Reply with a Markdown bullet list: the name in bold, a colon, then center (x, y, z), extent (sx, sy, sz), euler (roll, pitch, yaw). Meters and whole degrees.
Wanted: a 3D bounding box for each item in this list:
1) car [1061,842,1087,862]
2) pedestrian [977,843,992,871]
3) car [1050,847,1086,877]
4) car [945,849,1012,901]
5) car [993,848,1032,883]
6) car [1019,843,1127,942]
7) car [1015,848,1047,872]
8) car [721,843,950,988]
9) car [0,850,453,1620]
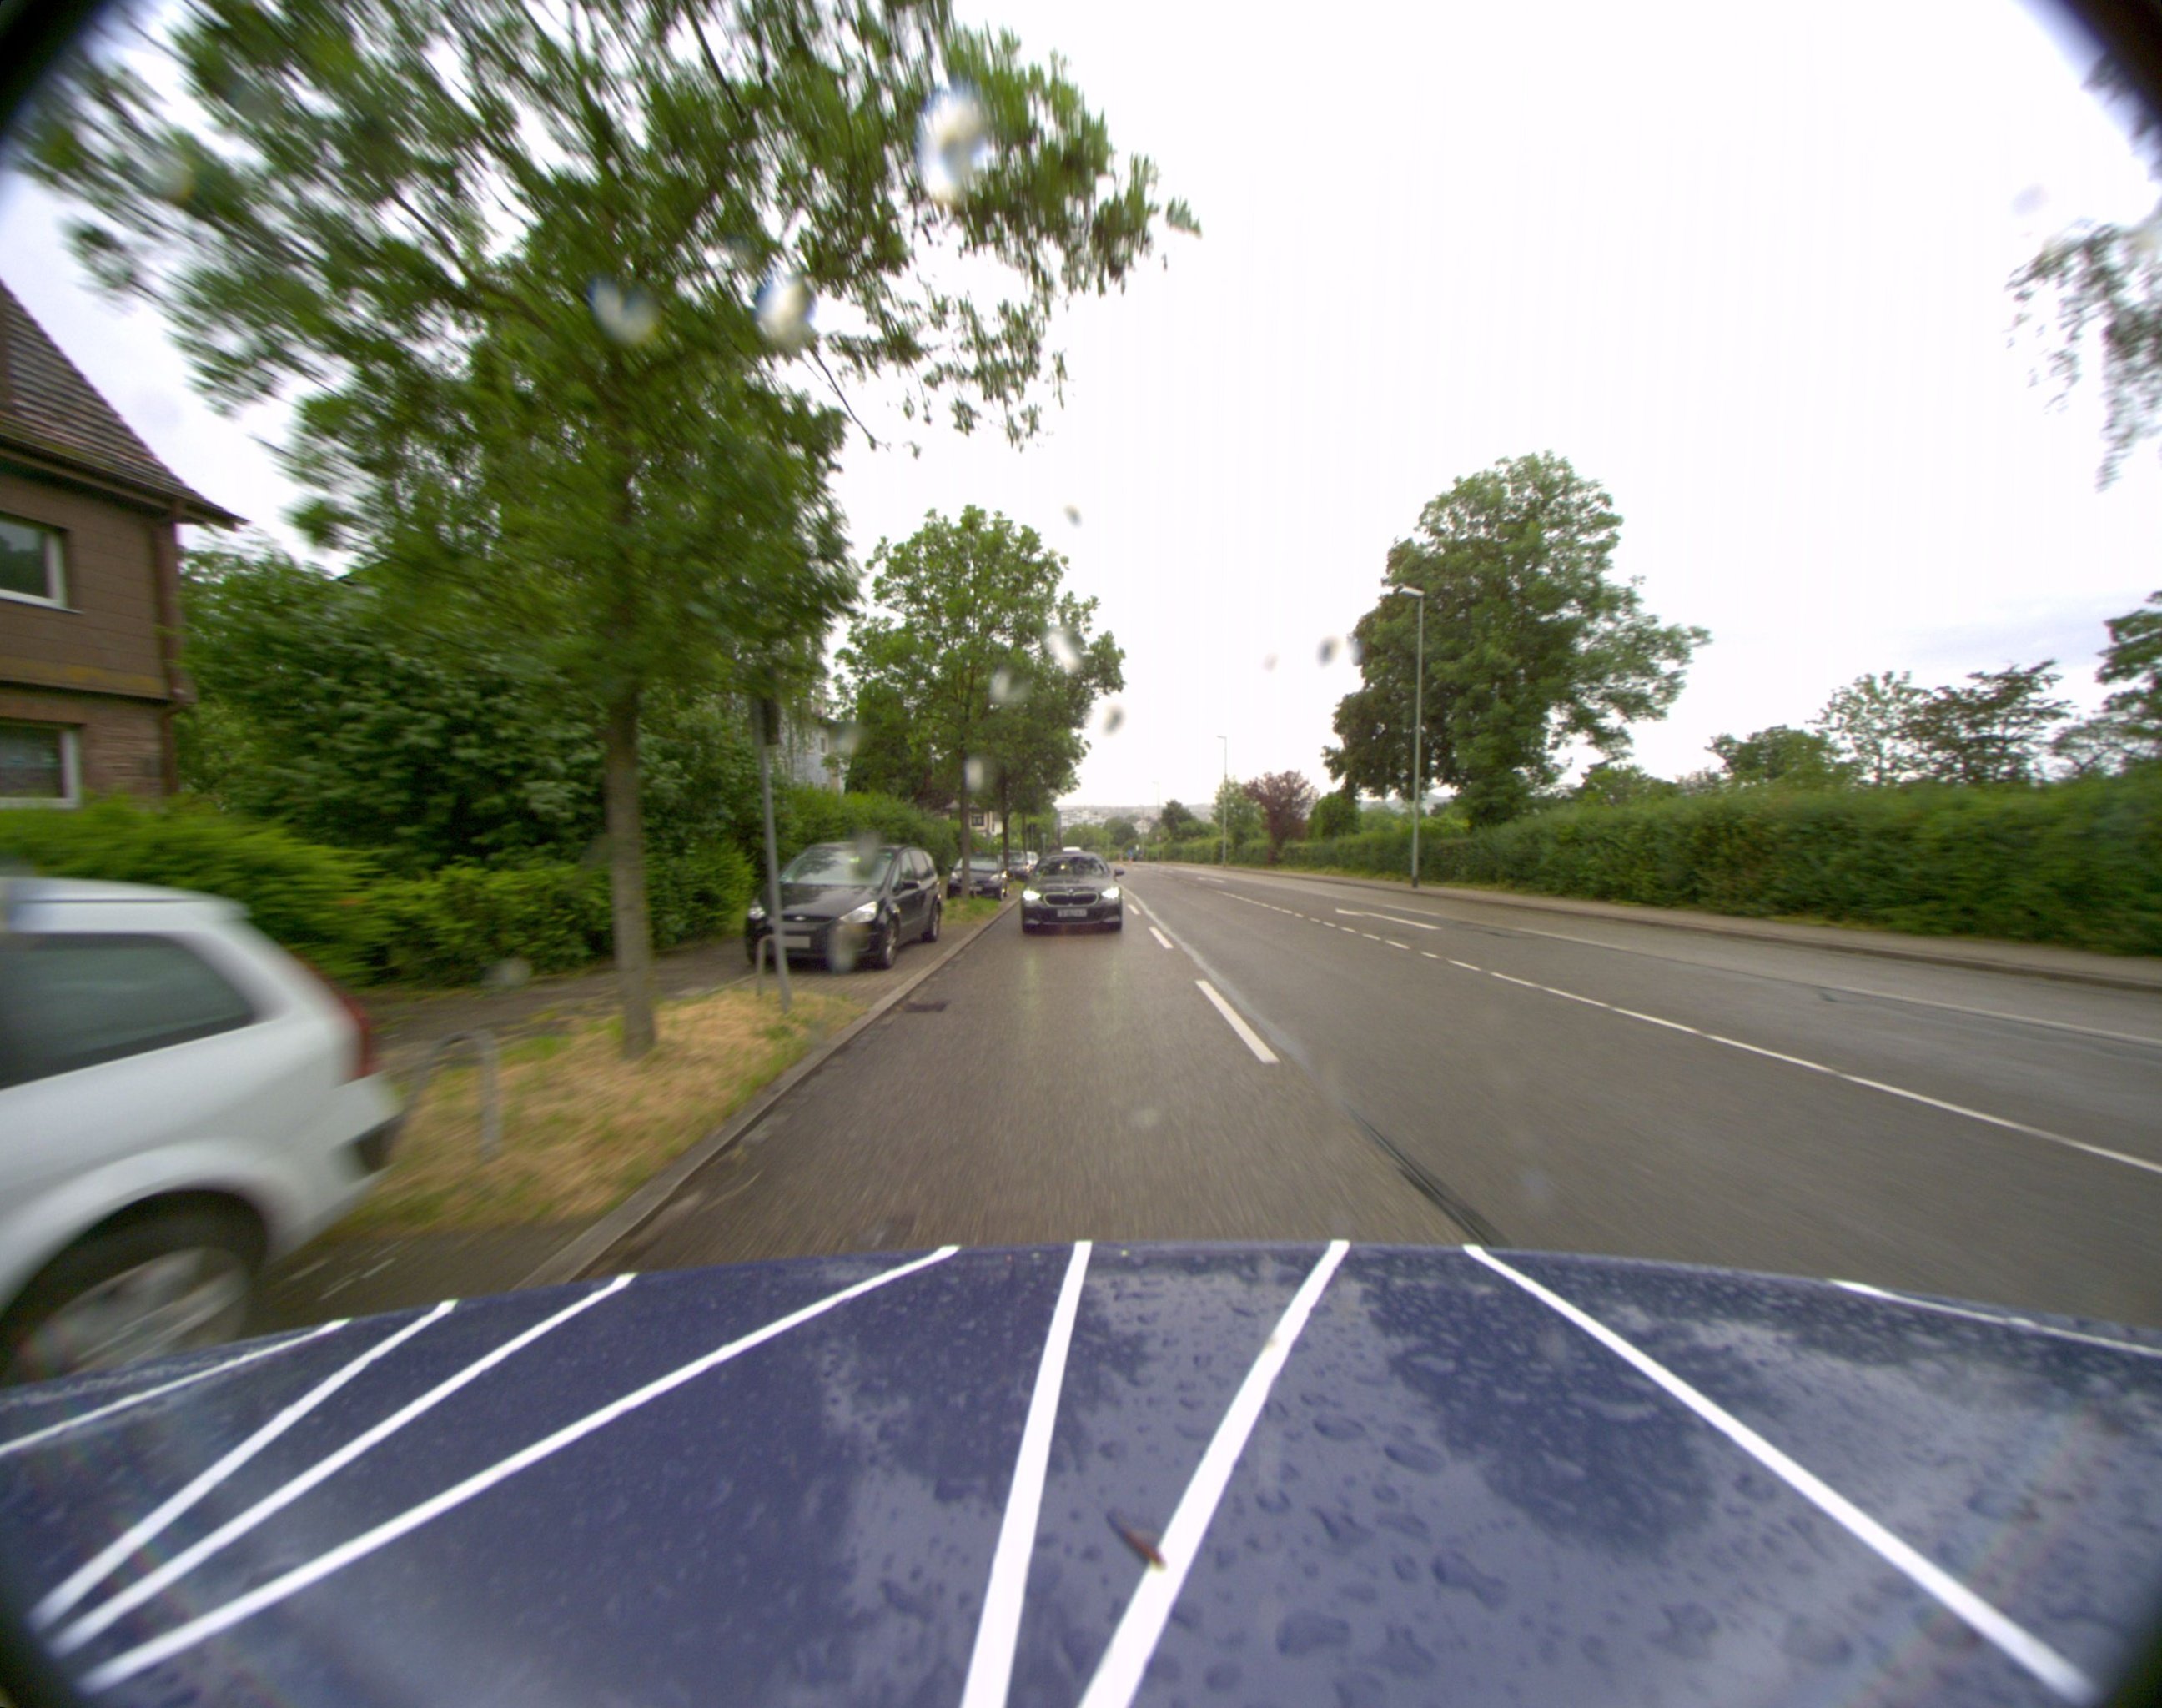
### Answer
- **car**: center (-0.616, -0.212, 66.108), extent (1.999, 1.674, 4.171), euler (0, 1, -4)
- **pedestrian**: center (-5.693, 0.170, 44.749), extent (0.709, 1.670, 0.654), euler (1, 2, 7)
- **car**: center (-0.706, 0.436, 44.709), extent (1.998, 1.674, 4.173), euler (0, 1, 0)
- **car**: center (-3.188, 0.617, 24.333), extent (1.726, 1.503, 3.785), euler (1, 1, -2)
- **car**: center (-3.340, 0.529, 37.401), extent (1.646, 1.586, 4.013), euler (1, 1, -2)
- **car**: center (-0.125, 0.645, 15.523), extent (1.829, 1.668, 4.295), euler (-2, 1, 1)
- **car**: center (-3.253, 0.350, 49.883), extent (1.803, 1.513, 4.590), euler (1, 1, -1)
- **car**: center (-3.269, 0.691, 11.178), extent (1.829, 1.668, 4.583), euler (1, 1, 1)
- **car**: center (-3.279, 0.829, 0.499), extent (1.828, 1.593, 4.474), euler (1, 1, 4)
